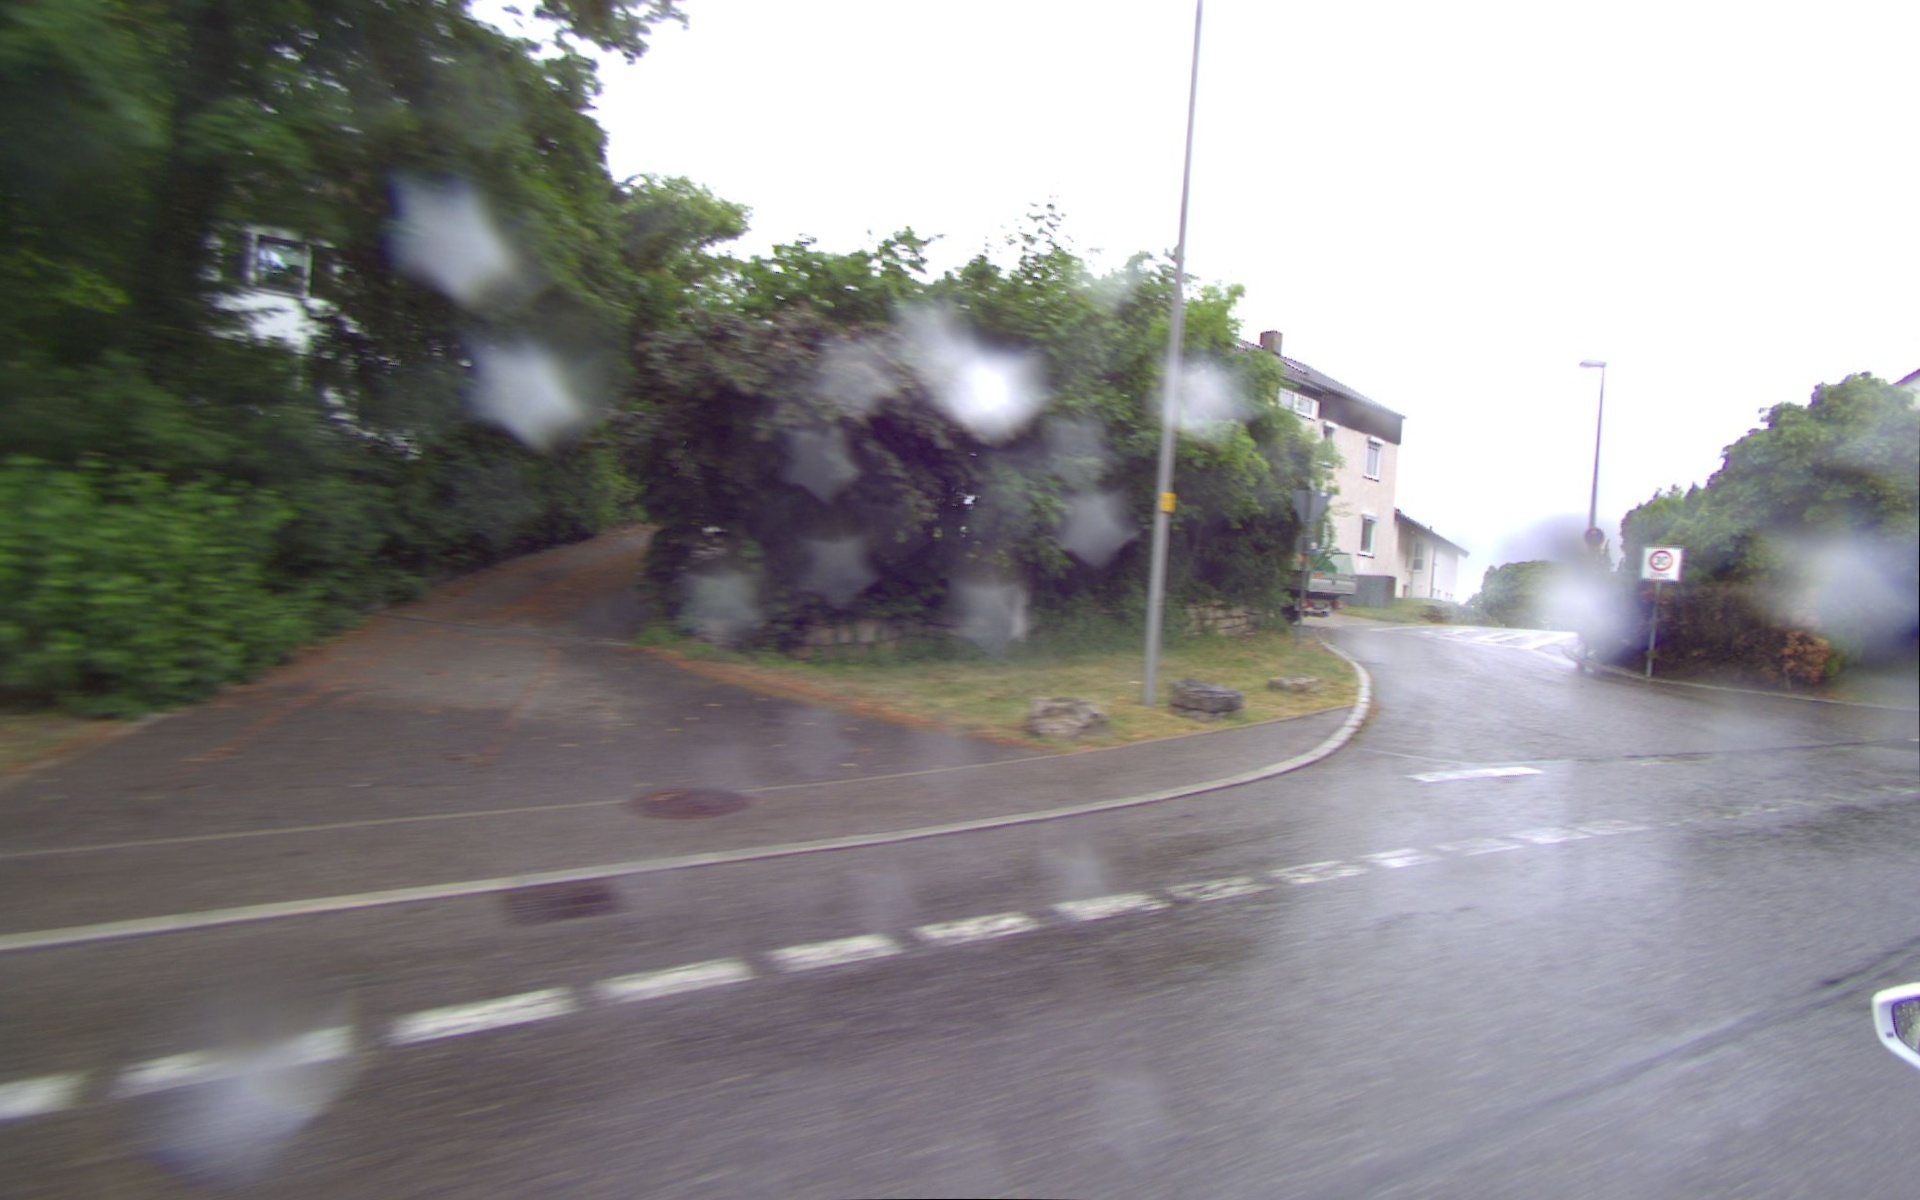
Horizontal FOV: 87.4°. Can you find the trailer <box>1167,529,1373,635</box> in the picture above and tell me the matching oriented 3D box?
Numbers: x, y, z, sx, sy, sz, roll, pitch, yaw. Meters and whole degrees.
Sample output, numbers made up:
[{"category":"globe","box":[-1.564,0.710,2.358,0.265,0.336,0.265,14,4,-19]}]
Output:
[{"category":"trailer","box":[7.166,-0.467,23.553,2.143,2.032,3.955,1,6,-39]}]
